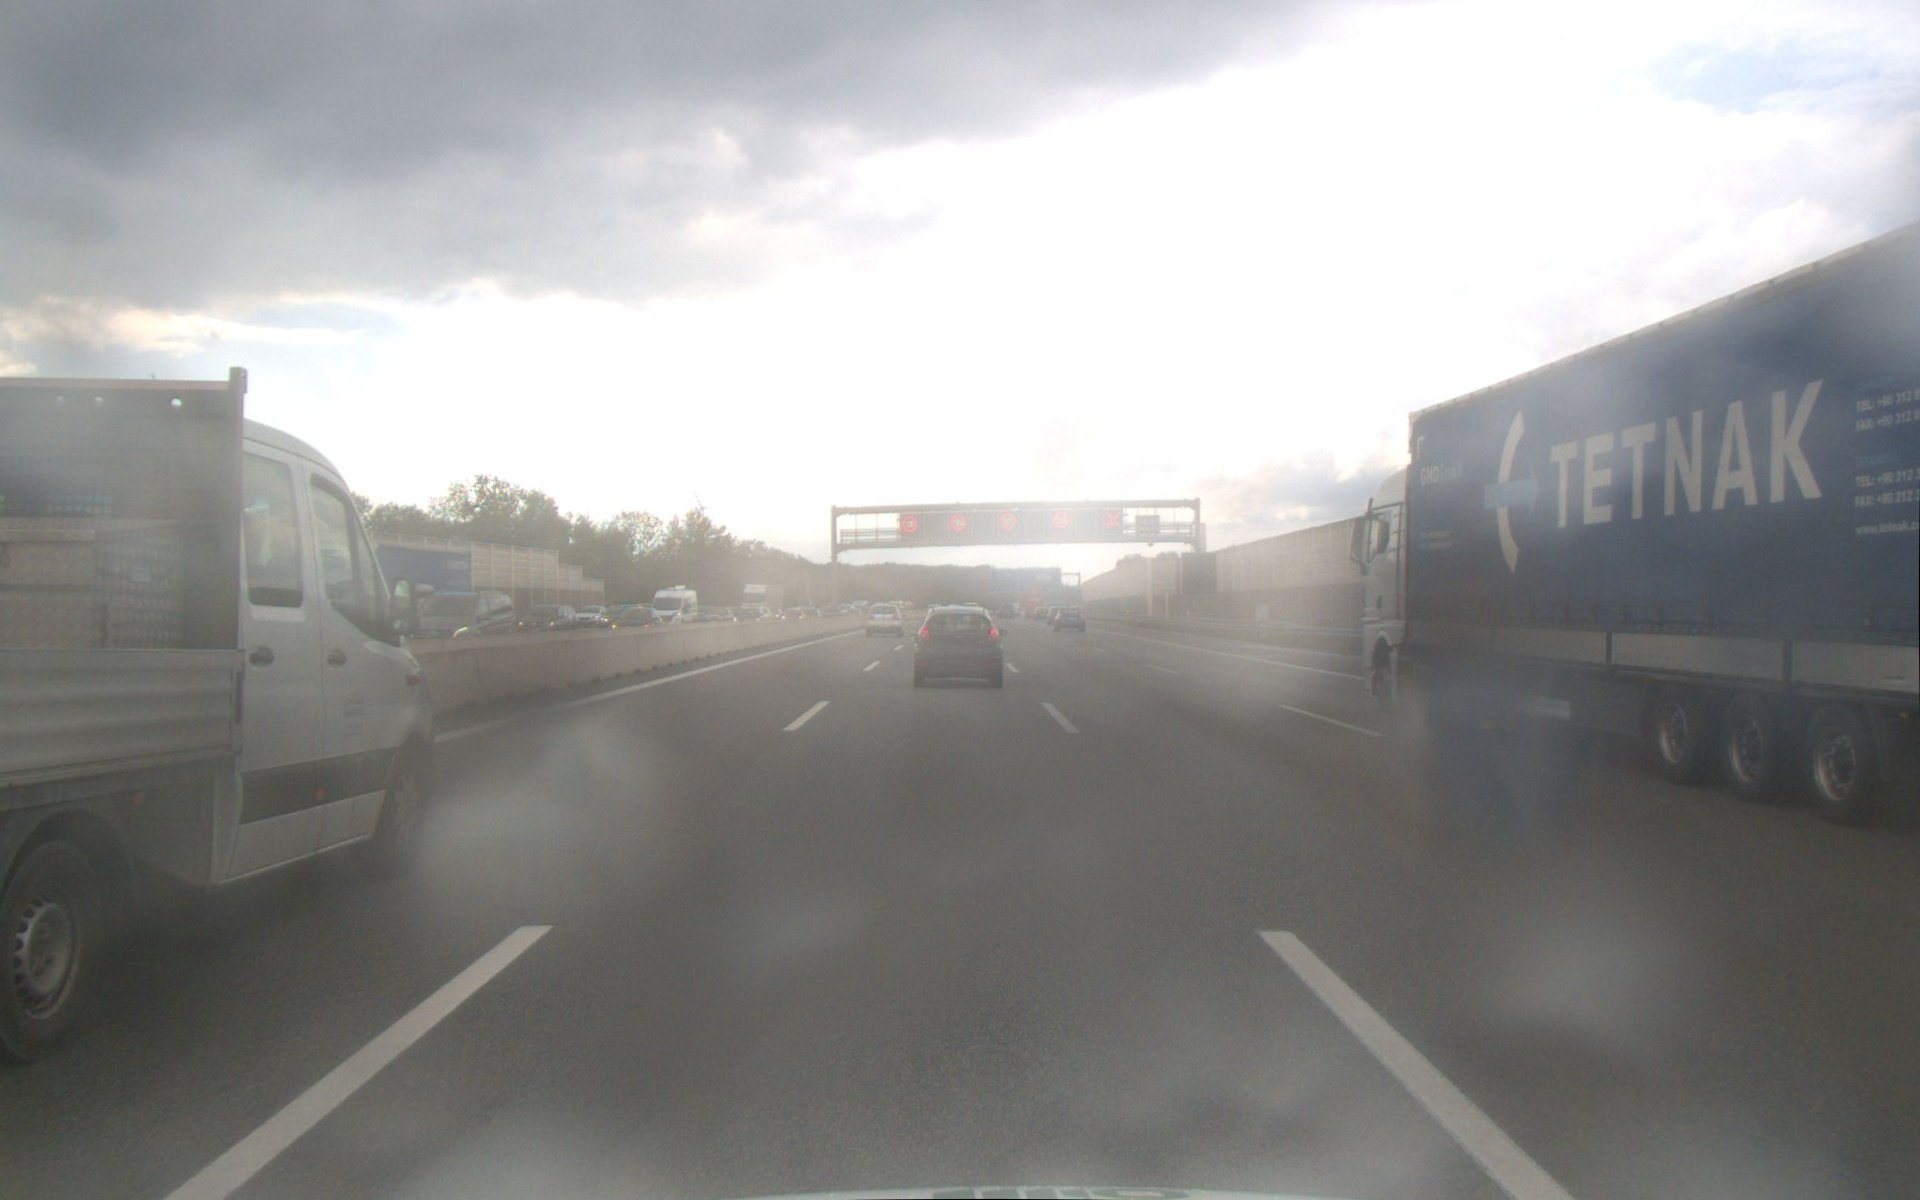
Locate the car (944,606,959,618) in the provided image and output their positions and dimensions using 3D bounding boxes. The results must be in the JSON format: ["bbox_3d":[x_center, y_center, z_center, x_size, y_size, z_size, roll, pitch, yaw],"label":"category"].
[{"bbox_3d":[-1.226,1.683,233.831,1.927,1.588,4.433,-1,-1,1],"label":"car"}]

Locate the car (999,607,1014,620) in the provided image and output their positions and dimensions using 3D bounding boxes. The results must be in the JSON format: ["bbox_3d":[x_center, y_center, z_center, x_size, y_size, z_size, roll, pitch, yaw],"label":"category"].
[{"bbox_3d":[6.102,1.810,215.536,1.927,1.588,4.433,-1,-1,1],"label":"car"}]

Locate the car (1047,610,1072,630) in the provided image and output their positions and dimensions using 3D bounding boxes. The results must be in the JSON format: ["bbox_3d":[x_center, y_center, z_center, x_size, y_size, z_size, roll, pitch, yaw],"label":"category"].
[{"bbox_3d":[8.306,1.695,138.011,1.844,1.569,4.432,-1,-1,0],"label":"car"}]

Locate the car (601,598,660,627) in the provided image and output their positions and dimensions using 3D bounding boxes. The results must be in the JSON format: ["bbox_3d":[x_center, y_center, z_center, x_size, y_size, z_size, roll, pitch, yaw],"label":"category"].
[{"bbox_3d":[-17.455,0.662,87.739,2.017,1.517,4.998,0,-1,1],"label":"car"}]

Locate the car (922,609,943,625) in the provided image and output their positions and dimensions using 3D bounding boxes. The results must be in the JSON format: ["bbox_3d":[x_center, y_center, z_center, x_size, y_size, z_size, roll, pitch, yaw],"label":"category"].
[{"bbox_3d":[-2.879,1.745,172.393,1.927,1.588,4.433,-1,-1,1],"label":"car"}]

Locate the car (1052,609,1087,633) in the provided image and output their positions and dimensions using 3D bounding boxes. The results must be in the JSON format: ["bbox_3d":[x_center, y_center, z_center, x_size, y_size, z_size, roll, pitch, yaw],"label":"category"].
[{"bbox_3d":[6.765,1.283,102.623,1.910,1.443,4.232,0,-1,0],"label":"car"}]

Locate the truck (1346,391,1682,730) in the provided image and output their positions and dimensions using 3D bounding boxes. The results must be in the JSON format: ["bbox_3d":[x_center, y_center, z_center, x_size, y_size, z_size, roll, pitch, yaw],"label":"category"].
[{"bbox_3d":[7.398,-0.469,22.944,2.689,4.105,5.725,0,0,-1],"label":"truck"}]

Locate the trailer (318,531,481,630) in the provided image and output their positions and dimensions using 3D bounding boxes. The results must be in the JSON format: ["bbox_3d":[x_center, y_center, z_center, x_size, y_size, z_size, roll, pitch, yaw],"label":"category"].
[{"bbox_3d":[-25.398,-0.788,75.953,2.705,4.102,14.450,0,0,-1],"label":"trailer"}]

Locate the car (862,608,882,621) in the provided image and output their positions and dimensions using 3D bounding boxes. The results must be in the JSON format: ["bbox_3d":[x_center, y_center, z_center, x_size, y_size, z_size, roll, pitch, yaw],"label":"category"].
[{"bbox_3d":[-10.934,1.817,205.067,2.017,1.674,5.380,0,-1,1],"label":"car"}]

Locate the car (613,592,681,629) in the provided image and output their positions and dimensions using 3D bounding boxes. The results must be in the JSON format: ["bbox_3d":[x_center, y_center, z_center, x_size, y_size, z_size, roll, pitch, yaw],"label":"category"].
[{"bbox_3d":[-13.478,0.461,71.464,2.018,1.517,4.997,0,-1,0],"label":"car"}]

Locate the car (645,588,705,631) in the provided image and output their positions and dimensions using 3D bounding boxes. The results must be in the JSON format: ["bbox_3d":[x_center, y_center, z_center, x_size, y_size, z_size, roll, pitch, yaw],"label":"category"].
[{"bbox_3d":[-17.812,0.597,103.639,2.334,2.594,7.087,0,-1,1],"label":"car"}]

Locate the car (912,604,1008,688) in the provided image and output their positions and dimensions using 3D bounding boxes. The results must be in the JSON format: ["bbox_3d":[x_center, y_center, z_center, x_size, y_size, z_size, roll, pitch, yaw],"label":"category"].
[{"bbox_3d":[-0.050,0.818,31.324,1.682,1.442,4.277,0,0,-1],"label":"car"}]

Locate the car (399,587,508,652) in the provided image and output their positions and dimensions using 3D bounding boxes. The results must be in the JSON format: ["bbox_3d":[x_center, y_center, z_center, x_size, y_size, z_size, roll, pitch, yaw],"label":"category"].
[{"bbox_3d":[-14.017,0.508,45.994,1.835,1.729,4.221,0,0,-1],"label":"car"}]

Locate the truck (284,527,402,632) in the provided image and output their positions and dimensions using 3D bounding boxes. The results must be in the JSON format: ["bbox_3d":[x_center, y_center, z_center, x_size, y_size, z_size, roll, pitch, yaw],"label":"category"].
[{"bbox_3d":[-25.259,-0.791,67.960,2.689,4.105,5.725,0,0,0],"label":"truck"}]

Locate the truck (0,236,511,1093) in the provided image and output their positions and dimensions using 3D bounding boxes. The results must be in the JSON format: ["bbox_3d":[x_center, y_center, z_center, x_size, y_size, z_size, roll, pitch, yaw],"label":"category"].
[{"bbox_3d":[-3.976,0.180,7.197,2.260,2.482,7.146,0,0,-2],"label":"truck"}]

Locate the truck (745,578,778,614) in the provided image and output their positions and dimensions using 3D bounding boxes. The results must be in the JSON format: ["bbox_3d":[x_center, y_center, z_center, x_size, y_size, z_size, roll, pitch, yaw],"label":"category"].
[{"bbox_3d":[-22.845,-0.468,190.528,2.910,4.105,5.727,0,0,1],"label":"truck"}]

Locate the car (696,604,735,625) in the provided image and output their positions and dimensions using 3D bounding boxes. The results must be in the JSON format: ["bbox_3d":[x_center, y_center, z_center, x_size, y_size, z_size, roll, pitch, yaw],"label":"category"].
[{"bbox_3d":[-17.881,1.089,121.145,2.017,1.517,4.998,0,-1,1],"label":"car"}]

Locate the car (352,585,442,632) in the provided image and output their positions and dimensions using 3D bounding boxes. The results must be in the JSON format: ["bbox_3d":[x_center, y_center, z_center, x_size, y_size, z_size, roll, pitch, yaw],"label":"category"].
[{"bbox_3d":[-21.556,0.314,63.512,1.835,1.729,5.014,0,0,-1],"label":"car"}]

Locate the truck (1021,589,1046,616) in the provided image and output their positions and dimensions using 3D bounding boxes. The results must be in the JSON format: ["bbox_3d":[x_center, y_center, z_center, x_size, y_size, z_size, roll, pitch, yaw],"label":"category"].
[{"bbox_3d":[10.216,0.320,231.083,3.087,3.665,12.701,1,0,1],"label":"truck"}]

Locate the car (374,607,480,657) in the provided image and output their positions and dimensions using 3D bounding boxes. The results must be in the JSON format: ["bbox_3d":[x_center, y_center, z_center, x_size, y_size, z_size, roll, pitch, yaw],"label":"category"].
[{"bbox_3d":[-17.989,1.058,56.047,2.018,1.627,4.996,0,-1,-1],"label":"car"}]

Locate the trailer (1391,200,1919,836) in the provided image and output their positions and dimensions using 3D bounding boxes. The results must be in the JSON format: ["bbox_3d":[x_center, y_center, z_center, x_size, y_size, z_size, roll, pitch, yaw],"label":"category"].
[{"bbox_3d":[7.479,-0.513,16.005,2.705,4.102,14.450,0,0,-1],"label":"trailer"}]

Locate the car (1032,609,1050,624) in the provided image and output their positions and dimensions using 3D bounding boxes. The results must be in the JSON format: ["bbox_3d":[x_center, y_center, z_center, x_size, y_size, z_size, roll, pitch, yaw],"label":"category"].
[{"bbox_3d":[8.902,1.839,182.014,1.843,1.588,4.433,-1,-1,1],"label":"car"}]

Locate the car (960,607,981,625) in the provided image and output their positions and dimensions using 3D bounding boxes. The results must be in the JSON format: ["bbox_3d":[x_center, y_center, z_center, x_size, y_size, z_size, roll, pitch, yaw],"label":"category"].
[{"bbox_3d":[1.015,1.547,158.877,1.927,1.588,4.433,-1,-1,1],"label":"car"}]

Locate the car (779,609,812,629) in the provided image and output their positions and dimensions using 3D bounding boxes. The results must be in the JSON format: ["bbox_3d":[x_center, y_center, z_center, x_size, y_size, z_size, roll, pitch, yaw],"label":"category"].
[{"bbox_3d":[-13.298,1.533,133.710,2.017,1.517,4.998,0,-1,1],"label":"car"}]

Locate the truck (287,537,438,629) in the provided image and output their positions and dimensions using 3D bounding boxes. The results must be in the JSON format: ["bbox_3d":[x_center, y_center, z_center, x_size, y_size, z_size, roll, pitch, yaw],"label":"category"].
[{"bbox_3d":[-25.165,-0.655,70.258,2.641,3.589,9.996,1,0,1],"label":"truck"}]

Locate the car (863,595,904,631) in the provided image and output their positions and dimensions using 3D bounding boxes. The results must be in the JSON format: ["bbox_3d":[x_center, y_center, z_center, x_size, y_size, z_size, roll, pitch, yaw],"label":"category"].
[{"bbox_3d":[-3.601,0.594,78.365,1.682,1.652,4.279,0,0,1],"label":"car"}]

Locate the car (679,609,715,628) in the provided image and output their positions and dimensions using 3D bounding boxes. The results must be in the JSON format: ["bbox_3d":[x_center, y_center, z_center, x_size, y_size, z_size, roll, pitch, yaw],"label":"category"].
[{"bbox_3d":[-21.462,1.482,135.228,2.017,1.517,4.998,0,-1,1],"label":"car"}]
